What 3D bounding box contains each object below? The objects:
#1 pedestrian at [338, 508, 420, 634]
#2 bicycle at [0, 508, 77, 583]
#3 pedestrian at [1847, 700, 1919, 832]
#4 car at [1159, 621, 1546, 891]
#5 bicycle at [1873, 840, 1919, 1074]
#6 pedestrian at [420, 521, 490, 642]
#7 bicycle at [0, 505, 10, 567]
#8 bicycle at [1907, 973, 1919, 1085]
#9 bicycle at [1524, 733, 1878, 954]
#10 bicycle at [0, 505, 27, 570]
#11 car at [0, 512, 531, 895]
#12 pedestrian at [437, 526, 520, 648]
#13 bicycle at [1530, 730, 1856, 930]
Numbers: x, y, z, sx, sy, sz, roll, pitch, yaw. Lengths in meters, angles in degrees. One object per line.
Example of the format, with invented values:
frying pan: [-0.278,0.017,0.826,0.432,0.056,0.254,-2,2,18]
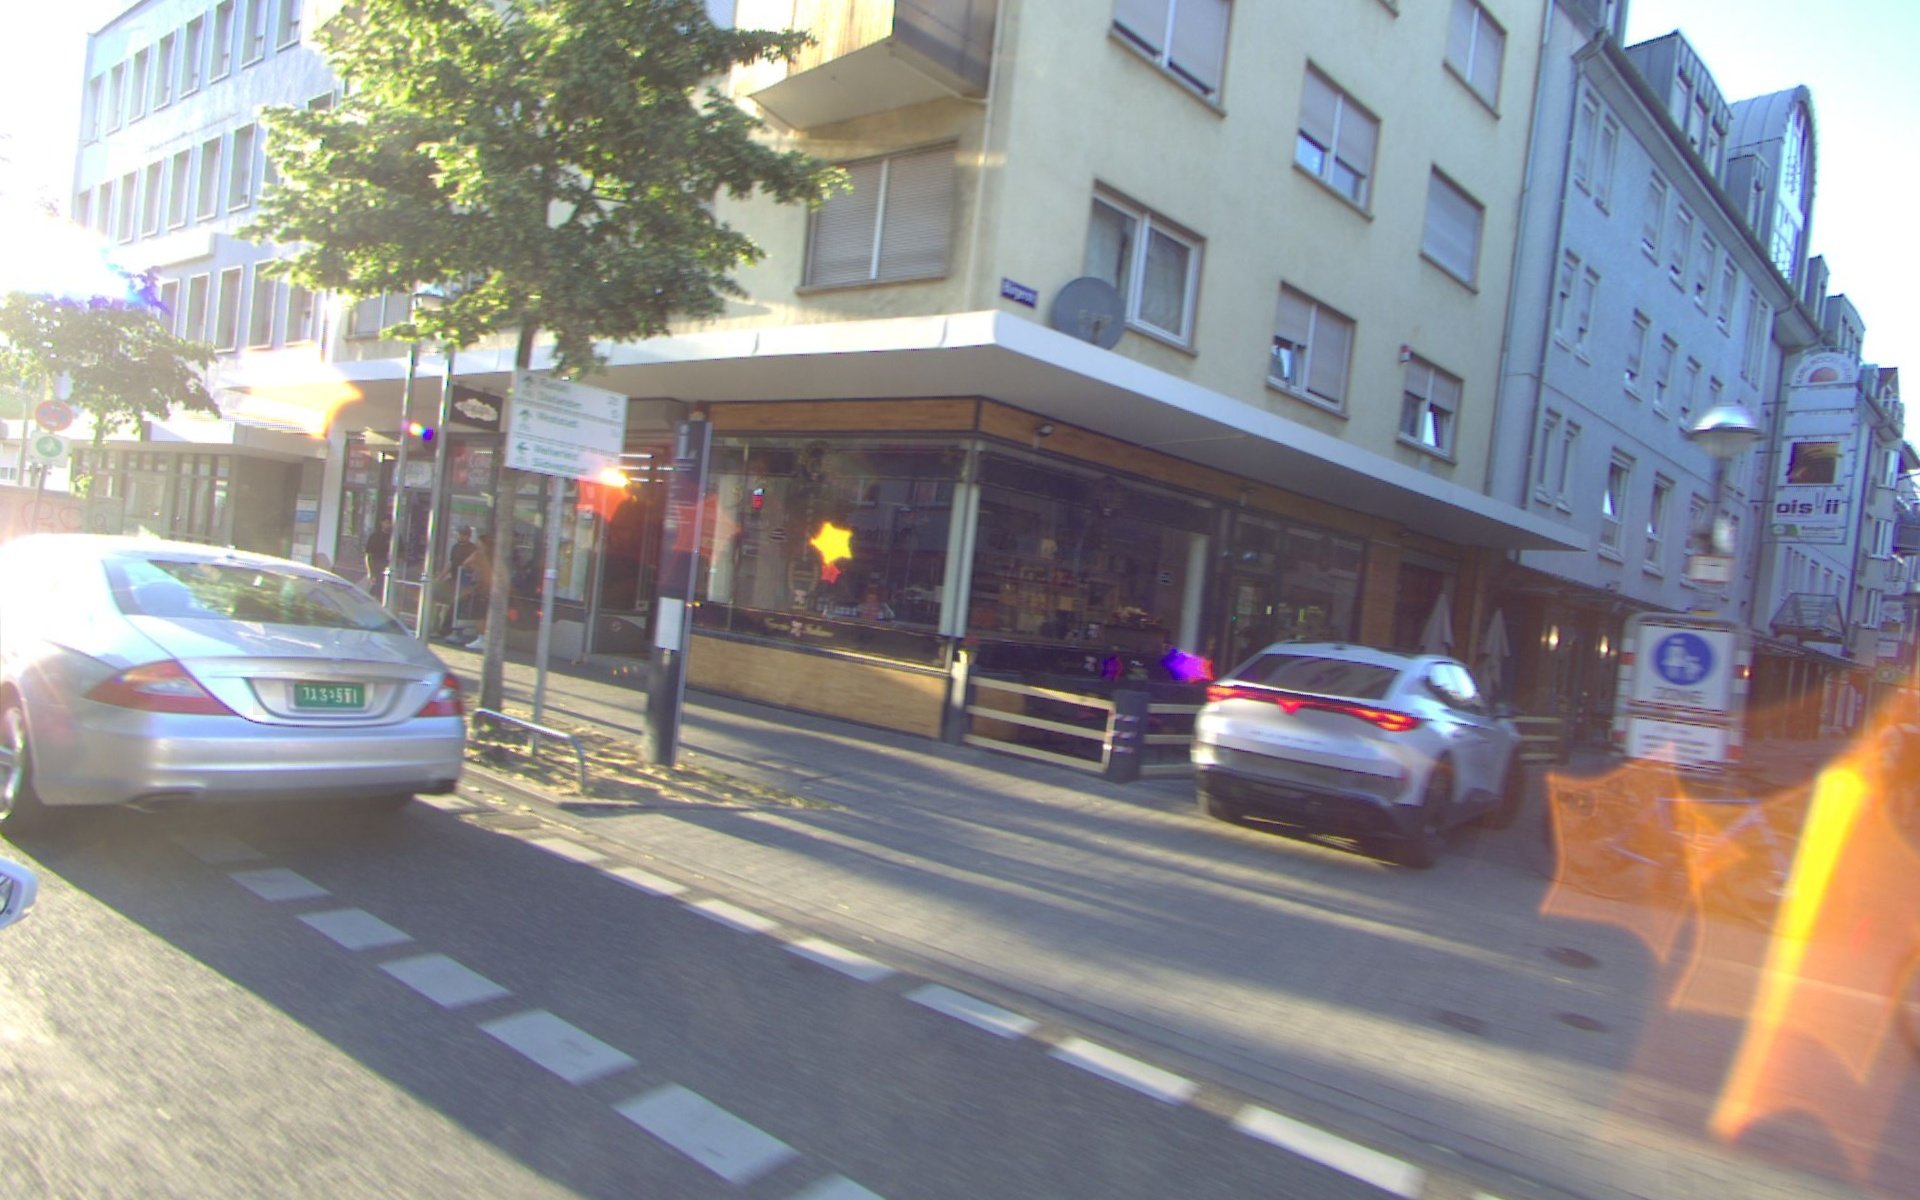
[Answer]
pedestrian: [-9.042,-0.445,15.658,0.640,1.829,0.708,8,0,35]
bicycle: [-16.588,-0.982,17.381,0.461,1.219,1.917,7,0,24]
pedestrian: [13.000,2.279,13.862,0.744,1.665,0.915,7,1,22]
car: [3.657,1.177,8.888,1.830,1.632,4.163,7,1,40]
bicycle: [5.001,1.692,4.210,1.612,0.968,0.391,7,1,31]
pedestrian: [-7.928,-0.279,15.814,0.518,1.804,0.582,8,0,15]
bicycle: [-19.681,-1.350,19.359,0.462,1.219,1.912,7,1,36]
bicycle: [4.785,1.652,3.824,1.588,0.968,0.391,7,1,31]
bicycle: [4.965,1.599,6.887,1.814,1.063,0.391,7,1,31]
bicycle: [-19.203,-1.284,19.204,0.462,1.219,1.912,7,1,36]
car: [-4.737,0.325,5.921,4.478,1.394,1.803,7,-1,34]
pedestrian: [-7.182,-0.191,15.002,0.765,1.679,0.642,8,0,35]
bicycle: [5.330,1.644,7.455,1.814,1.046,0.391,7,1,31]
